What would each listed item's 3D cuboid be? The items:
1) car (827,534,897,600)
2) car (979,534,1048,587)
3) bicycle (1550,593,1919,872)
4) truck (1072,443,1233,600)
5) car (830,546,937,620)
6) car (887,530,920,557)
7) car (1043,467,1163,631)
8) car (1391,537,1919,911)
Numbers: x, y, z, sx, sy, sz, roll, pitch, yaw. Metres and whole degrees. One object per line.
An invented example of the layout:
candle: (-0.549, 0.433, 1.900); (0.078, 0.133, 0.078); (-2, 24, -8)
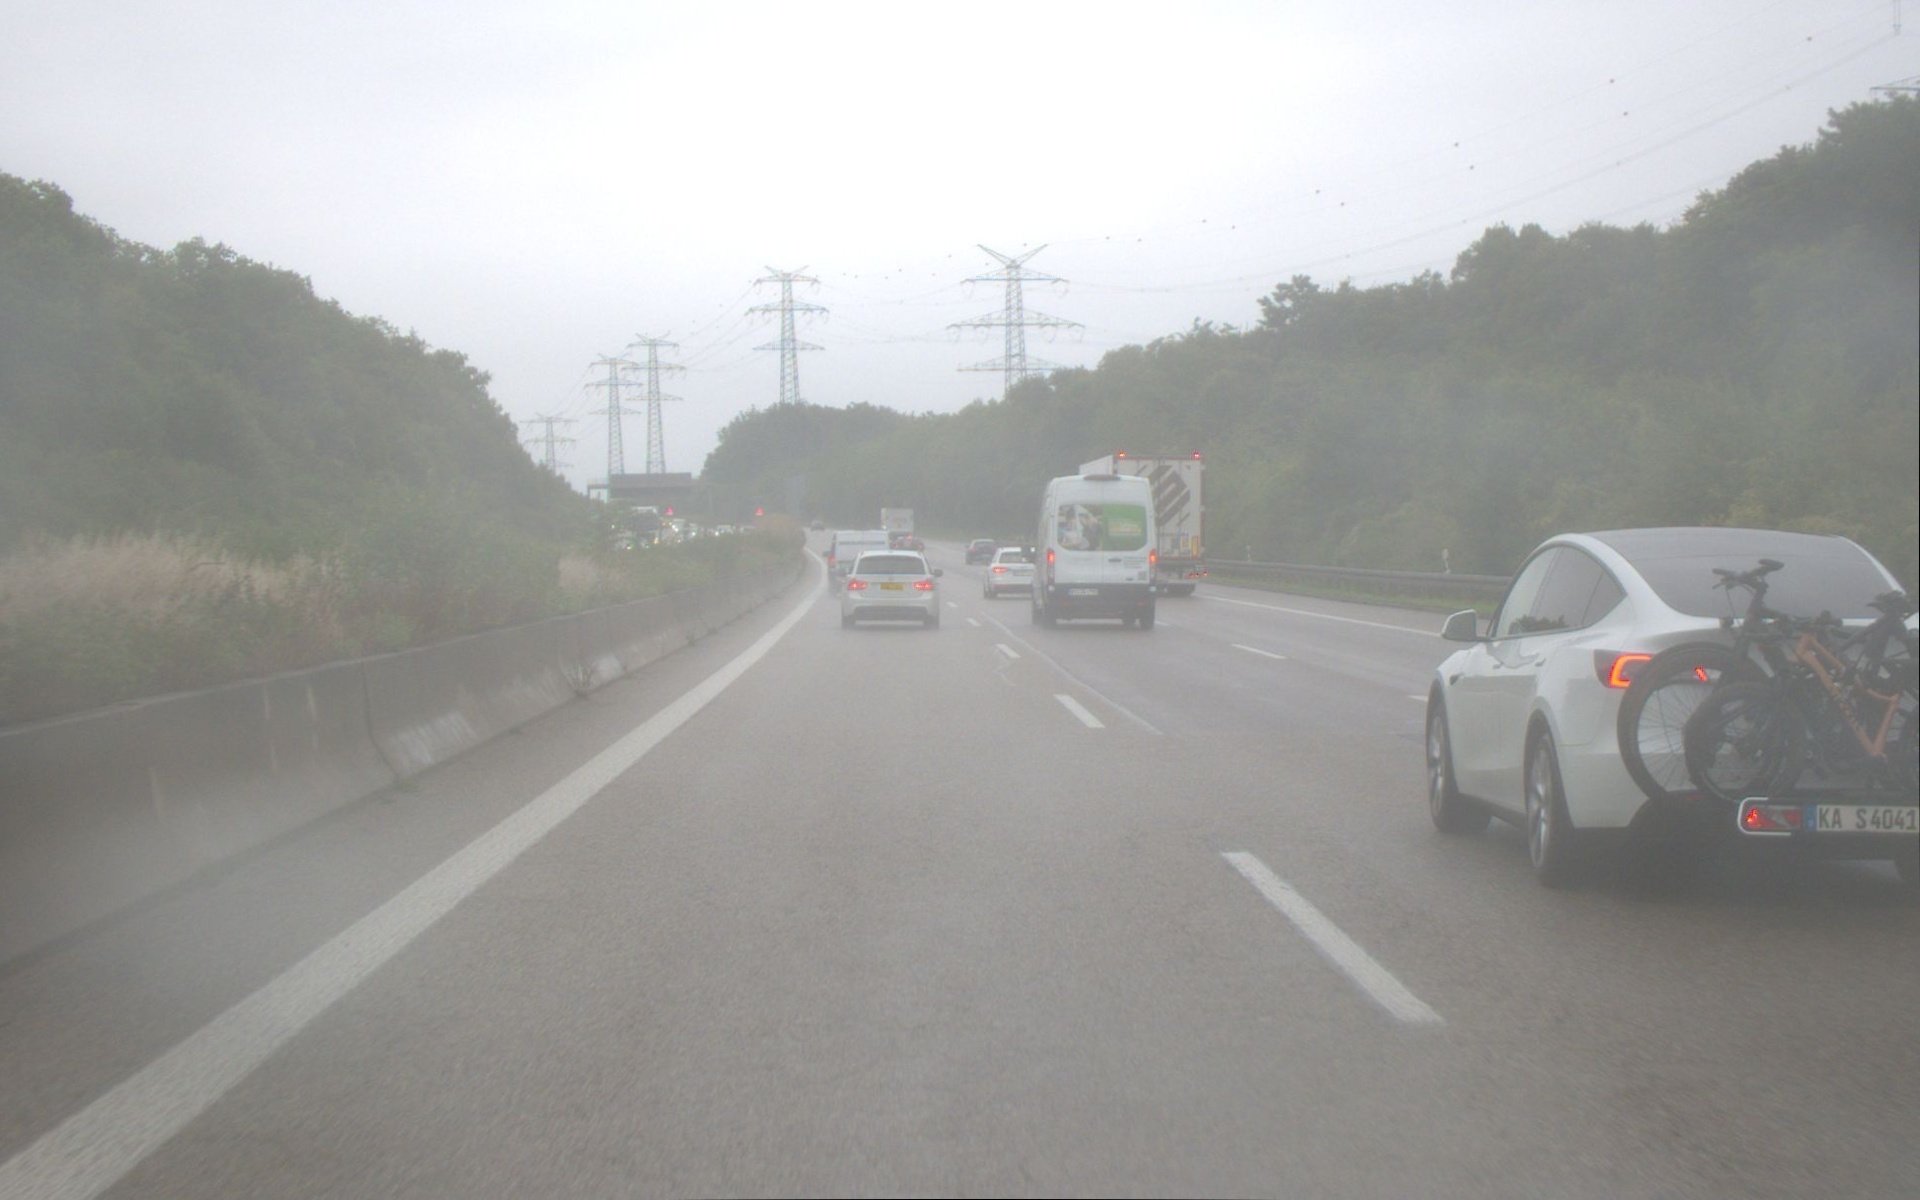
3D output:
car: (-2.683, -0.926, 95.049); (1.846, 1.766, 4.000); (-1, 1, 0)
car: (1.446, -1.092, 94.109); (1.857, 1.418, 4.000); (0, 1, 0)
bicycle: (3.342, 0.519, 13.899); (1.753, 1.087, 0.914); (0, 0, 0)
truck: (5.564, -2.267, 102.172); (3.603, 4.317, 13.201); (-1, 1, -2)
car: (-1.365, -0.333, 62.708); (1.866, 1.284, 4.000); (-1, 1, 0)
car: (-3.555, -3.539, 216.197); (1.993, 1.568, 4.000); (-2, 0, 0)
car: (2.585, -0.906, 62.818); (1.993, 2.854, 4.000); (2, 0, 1)
car: (3.403, 0.476, 16.876); (1.860, 1.562, 4.964); (0, 1, -1)
